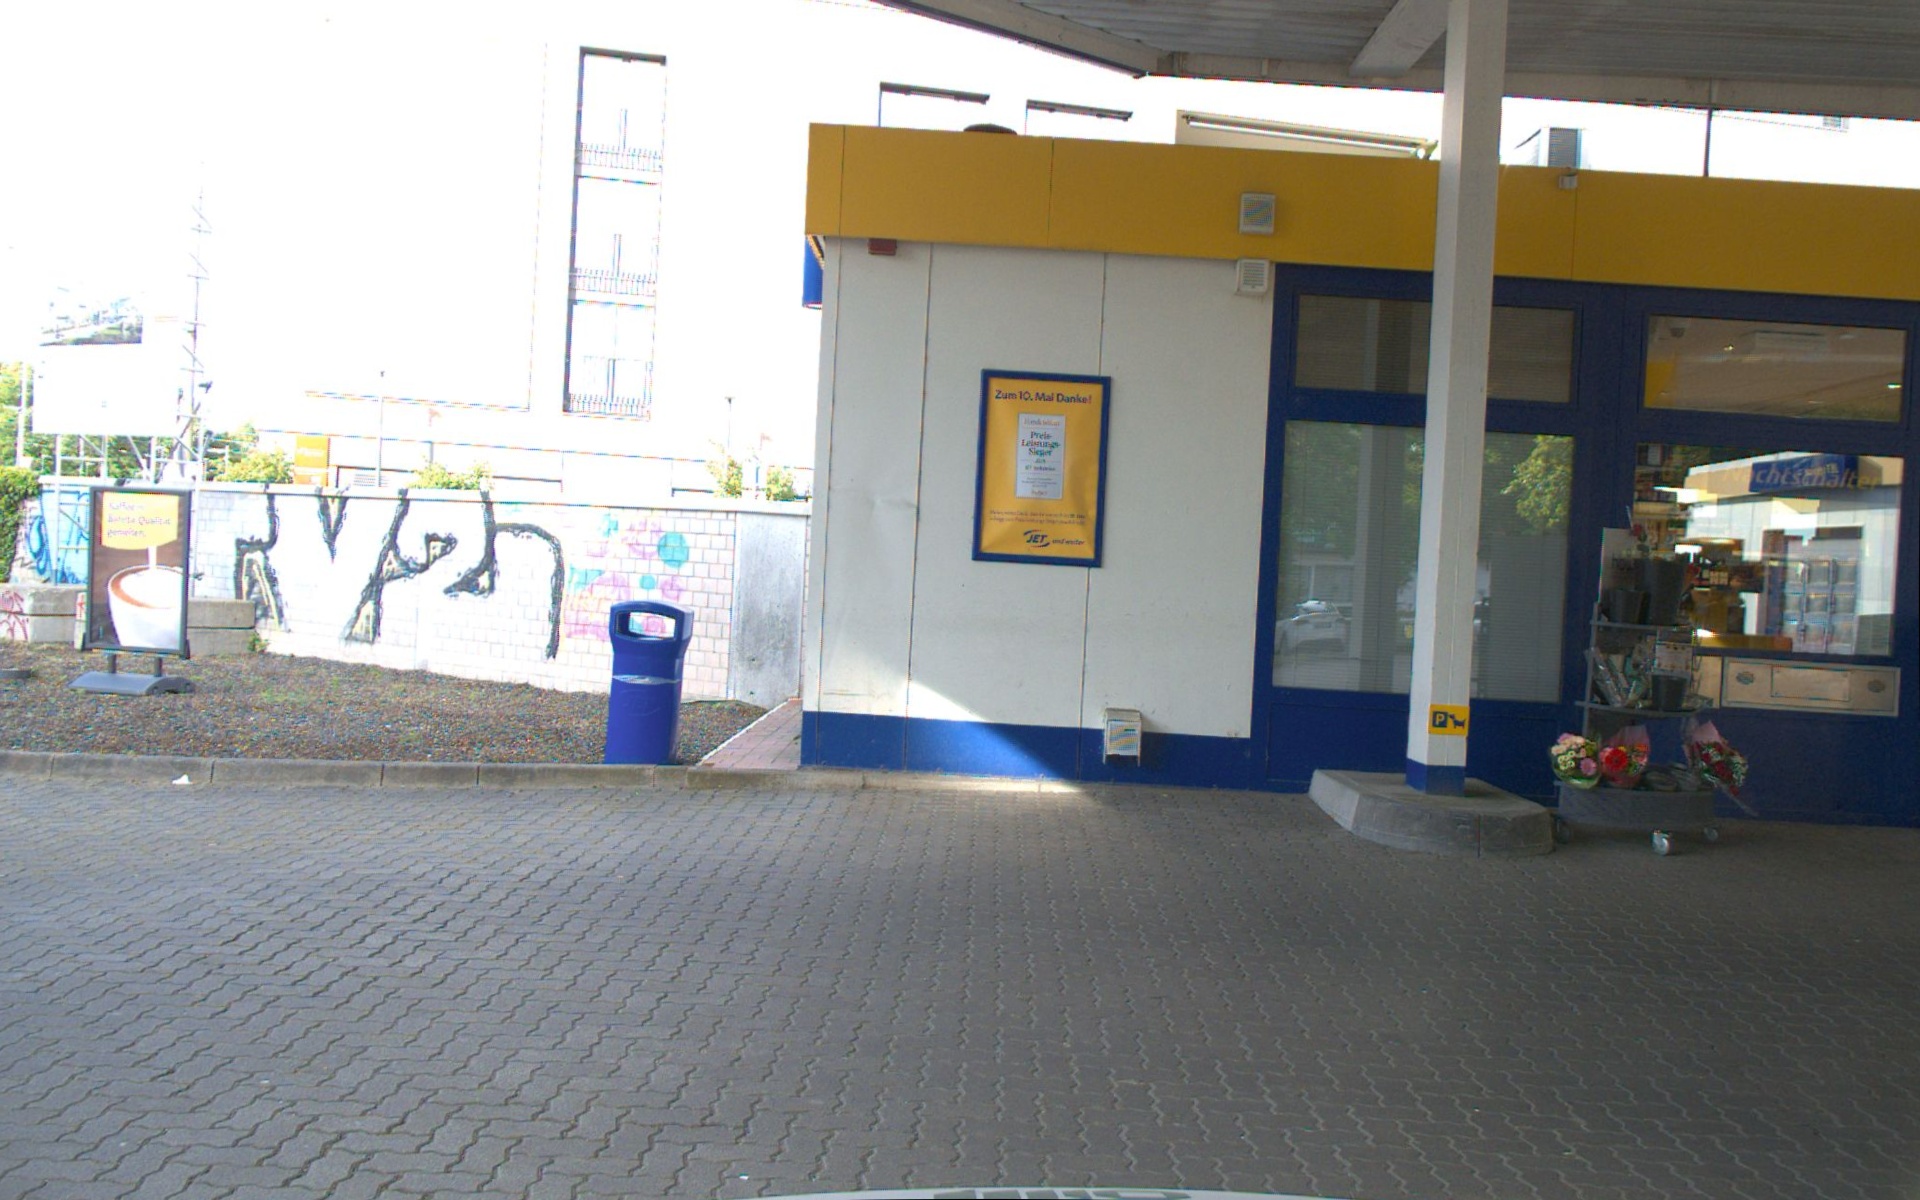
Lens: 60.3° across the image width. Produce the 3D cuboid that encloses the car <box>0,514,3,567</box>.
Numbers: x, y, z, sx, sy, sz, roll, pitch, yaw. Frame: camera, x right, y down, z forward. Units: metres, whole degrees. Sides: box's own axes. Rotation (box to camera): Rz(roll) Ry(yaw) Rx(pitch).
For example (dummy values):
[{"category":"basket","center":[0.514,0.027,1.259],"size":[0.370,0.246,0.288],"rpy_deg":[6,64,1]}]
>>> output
[{"category":"car","center":[-23.563,-1.250,37.833],"size":[1.736,1.686,4.829],"rpy_deg":[4,0,-17]}]
